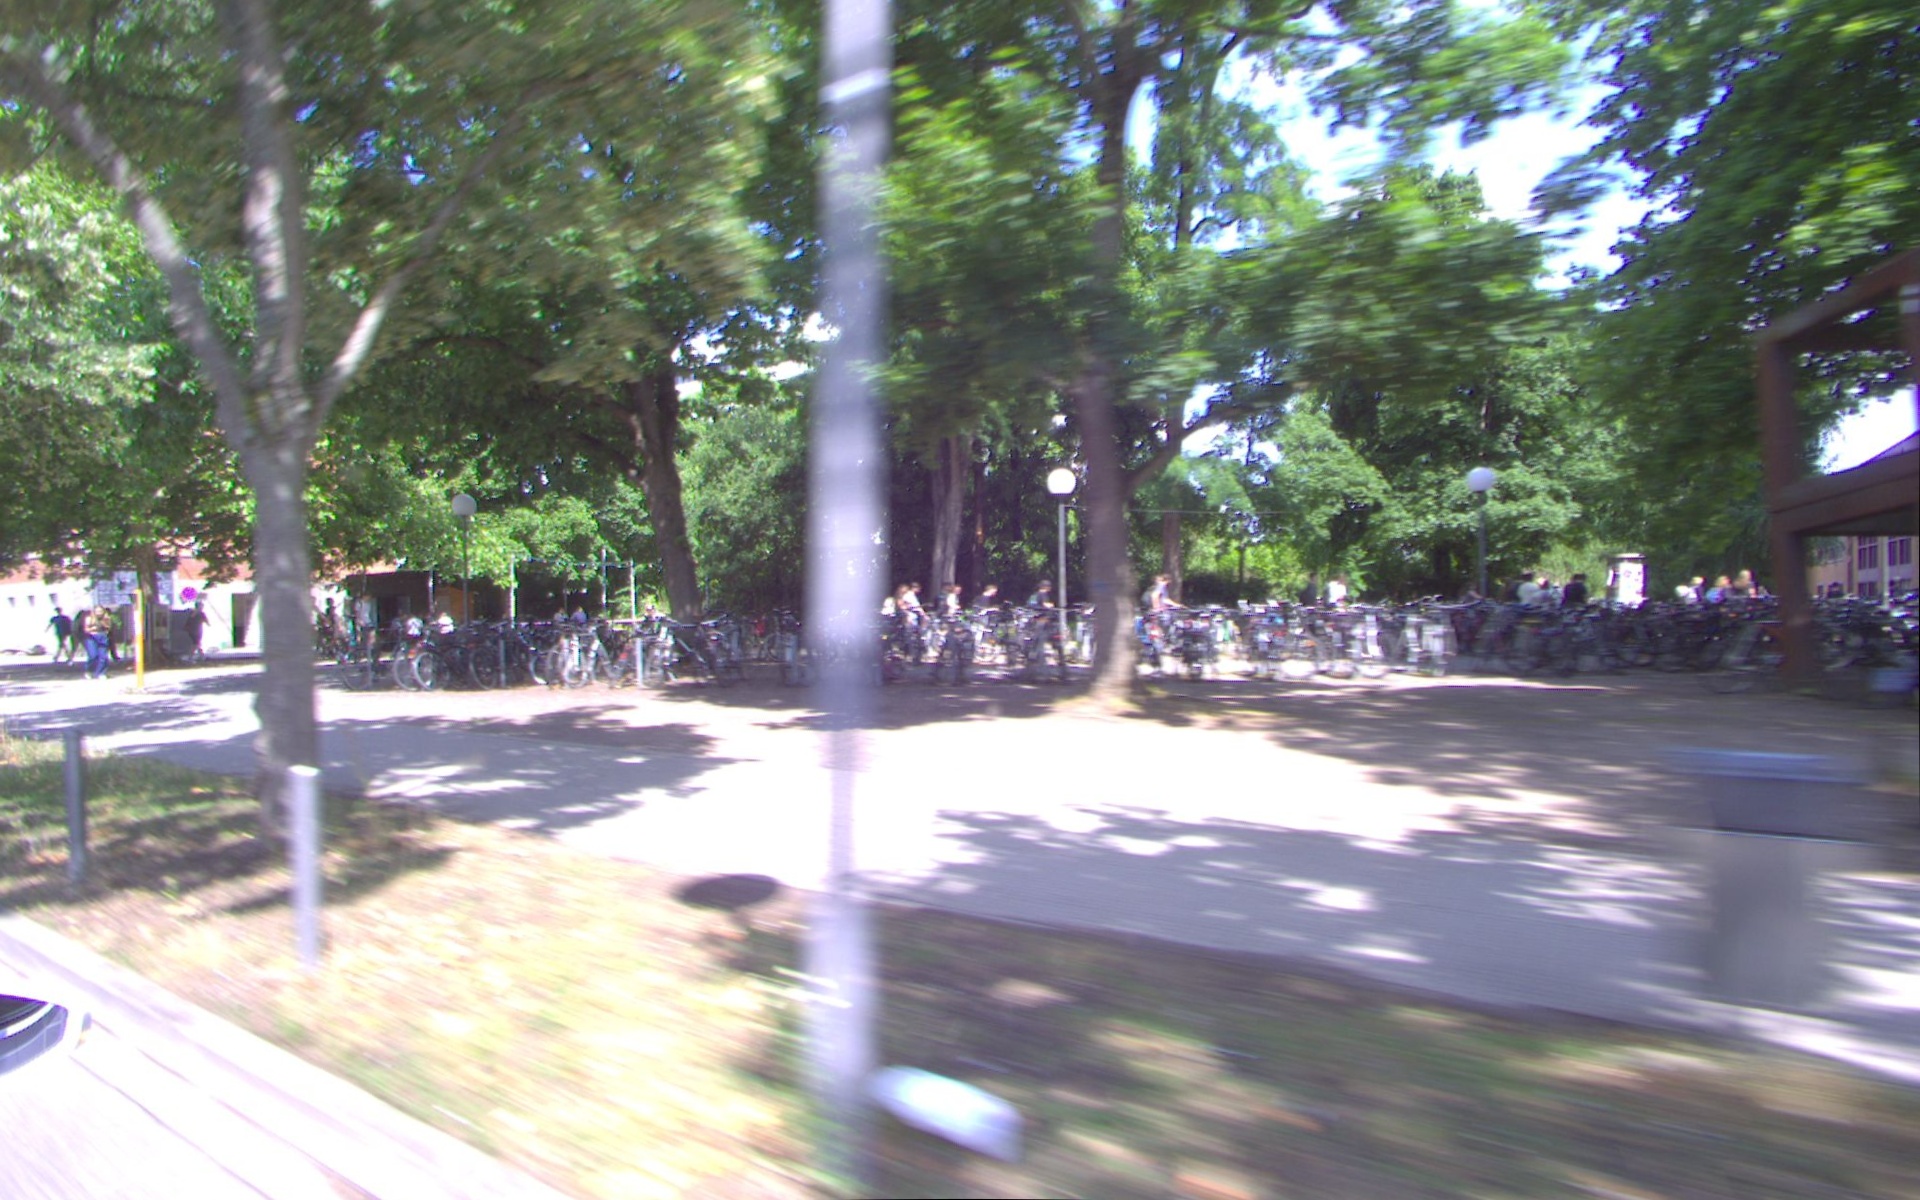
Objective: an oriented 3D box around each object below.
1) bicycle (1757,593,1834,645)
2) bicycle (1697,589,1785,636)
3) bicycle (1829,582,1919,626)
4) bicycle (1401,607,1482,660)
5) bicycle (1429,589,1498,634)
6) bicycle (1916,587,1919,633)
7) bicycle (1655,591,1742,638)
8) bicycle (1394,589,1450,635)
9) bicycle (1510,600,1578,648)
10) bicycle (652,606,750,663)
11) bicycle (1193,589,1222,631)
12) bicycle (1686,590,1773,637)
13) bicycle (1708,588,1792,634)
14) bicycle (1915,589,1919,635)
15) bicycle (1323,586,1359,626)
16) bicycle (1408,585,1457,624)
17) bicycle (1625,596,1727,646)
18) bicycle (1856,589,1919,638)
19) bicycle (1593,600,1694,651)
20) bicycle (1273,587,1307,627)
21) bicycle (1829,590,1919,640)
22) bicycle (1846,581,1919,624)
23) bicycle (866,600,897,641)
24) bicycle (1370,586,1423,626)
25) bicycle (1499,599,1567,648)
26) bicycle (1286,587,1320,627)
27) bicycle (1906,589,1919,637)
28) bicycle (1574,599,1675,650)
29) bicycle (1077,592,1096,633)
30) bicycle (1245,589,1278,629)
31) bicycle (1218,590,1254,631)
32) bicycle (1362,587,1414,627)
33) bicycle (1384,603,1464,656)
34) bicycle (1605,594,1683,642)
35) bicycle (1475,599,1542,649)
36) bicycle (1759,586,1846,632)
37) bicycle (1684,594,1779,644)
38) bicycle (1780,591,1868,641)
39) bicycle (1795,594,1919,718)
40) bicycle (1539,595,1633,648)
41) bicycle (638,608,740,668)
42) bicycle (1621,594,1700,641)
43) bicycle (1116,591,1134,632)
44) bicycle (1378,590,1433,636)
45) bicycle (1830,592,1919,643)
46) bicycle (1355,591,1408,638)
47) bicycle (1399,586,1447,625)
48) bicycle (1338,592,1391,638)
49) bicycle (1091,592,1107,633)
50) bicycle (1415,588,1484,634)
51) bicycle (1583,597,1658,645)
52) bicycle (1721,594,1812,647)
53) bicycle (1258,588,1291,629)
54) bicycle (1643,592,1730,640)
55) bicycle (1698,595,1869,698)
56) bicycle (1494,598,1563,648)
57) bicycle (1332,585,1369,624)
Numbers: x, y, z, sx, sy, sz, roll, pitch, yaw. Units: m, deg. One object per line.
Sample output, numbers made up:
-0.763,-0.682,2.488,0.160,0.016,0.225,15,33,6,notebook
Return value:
18.447,0.421,22.142,0.445,1.097,1.472,1,-1,0,bicycle
19.288,0.313,24.766,0.471,1.097,1.683,2,-1,-23,bicycle
23.657,0.119,25.954,0.470,1.097,1.684,2,-1,-19,bicycle
9.713,0.651,20.273,0.469,0.992,1.902,-2,1,-9,bicycle
11.603,0.249,23.113,0.371,0.992,1.800,-2,1,-12,bicycle
23.752,0.231,23.615,0.473,1.097,1.675,2,-1,-37,bicycle
18.027,0.367,24.480,0.471,1.097,1.683,2,-1,-23,bicycle
10.538,0.262,22.889,0.396,0.992,1.596,-2,1,-5,bicycle
13.693,0.559,23.527,0.347,1.097,1.467,2,-1,-22,bicycle
-5.191,0.696,20.103,1.868,1.097,0.478,-1,2,14,bicycle
6.871,0.259,27.799,0.341,1.108,1.610,-2,1,-1,bicycle
18.853,0.336,24.569,0.471,1.097,1.683,2,-1,-23,bicycle
19.695,0.292,25.000,0.470,1.097,1.685,1,-1,-17,bicycle
23.151,0.280,23.004,0.471,1.097,1.682,2,-1,-24,bicycle
10.915,0.160,28.718,0.341,1.108,1.610,-2,1,-3,bicycle
13.812,0.129,29.289,0.342,1.108,1.608,-2,1,-14,bicycle
15.153,0.422,21.246,0.470,0.992,1.900,-2,1,-15,bicycle
21.773,0.322,23.043,0.471,1.097,1.682,2,-1,-24,bicycle
14.344,0.509,21.087,0.470,0.992,1.900,-2,1,-15,bicycle
9.492,0.190,28.827,0.341,1.108,1.610,-2,1,-3,bicycle
20.965,0.357,22.844,0.471,1.097,1.682,2,-1,-24,bicycle
24.402,0.079,26.282,0.470,1.097,1.684,2,-1,-19,bicycle
-2.268,0.574,29.057,0.342,1.108,1.609,-1,1,15,bicycle
12.692,0.170,29.168,0.342,1.108,1.606,-2,1,-22,bicycle
13.369,0.544,23.388,0.347,1.097,1.467,2,-1,-22,bicycle
9.860,0.188,28.816,0.341,1.108,1.610,-2,1,-3,bicycle
22.728,0.303,22.802,0.471,1.097,1.682,2,-1,-24,bicycle
13.778,0.485,20.822,0.470,0.992,1.900,-2,1,-15,bicycle
3.580,0.336,28.401,0.469,1.108,1.610,-1,1,5,bicycle
8.524,0.242,28.374,0.341,1.108,1.610,-2,1,-3,bicycle
7.763,0.275,28.190,0.469,1.108,1.610,-2,1,-3,bicycle
12.378,0.188,29.024,0.342,1.108,1.606,-2,1,-22,bicycle
9.331,0.573,20.199,0.469,0.992,1.902,-2,1,-9,bicycle
16.416,0.446,24.073,0.470,1.097,1.687,1,-1,-12,bicycle
12.535,0.560,22.910,0.347,1.097,1.468,1,-2,-21,bicycle
21.066,0.245,25.071,0.470,1.097,1.685,1,-1,-17,bicycle
16.368,0.384,21.306,0.469,0.992,1.903,-2,1,-4,bicycle
19.432,0.359,22.550,0.347,1.097,1.465,2,-1,-28,bicycle
9.054,0.512,9.479,0.620,1.124,1.924,-2,0,-3,bicycle
12.766,0.415,20.473,0.469,0.992,1.902,-2,1,-10,bicycle
-5.209,0.728,19.235,1.868,1.097,0.478,-1,2,14,bicycle
16.879,0.426,24.164,0.470,1.097,1.687,1,-1,-12,bicycle
4.660,0.301,28.350,0.341,1.108,1.610,-1,1,5,bicycle
10.150,0.272,22.859,0.396,0.992,1.596,-2,1,-5,bicycle
20.632,0.389,22.417,0.471,1.097,1.682,2,-1,-24,bicycle
9.494,0.306,22.590,0.396,0.992,1.596,-2,1,-5,bicycle
13.484,0.144,29.199,0.342,1.108,1.608,-2,1,-14,bicycle
9.094,0.320,22.561,0.396,0.992,1.596,-2,1,-5,bicycle
3.925,0.327,28.374,0.341,1.108,1.610,-1,1,5,bicycle
11.237,0.236,23.042,0.371,0.992,1.800,-2,1,-12,bicycle
15.645,0.486,23.753,0.348,1.097,1.464,2,-1,-29,bicycle
17.420,0.443,21.658,0.471,1.097,1.467,2,-1,-23,bicycle
8.902,0.231,28.375,0.341,1.108,1.610,-2,1,-3,bicycle
17.592,0.390,24.285,0.471,1.097,1.683,2,-1,-23,bicycle
9.627,0.535,11.729,1.638,1.124,0.475,-2,1,-3,bicycle
13.101,0.532,23.108,0.347,1.097,1.467,2,-1,-22,bicycle
11.388,0.120,29.240,0.341,1.108,1.610,-2,1,-3,bicycle
